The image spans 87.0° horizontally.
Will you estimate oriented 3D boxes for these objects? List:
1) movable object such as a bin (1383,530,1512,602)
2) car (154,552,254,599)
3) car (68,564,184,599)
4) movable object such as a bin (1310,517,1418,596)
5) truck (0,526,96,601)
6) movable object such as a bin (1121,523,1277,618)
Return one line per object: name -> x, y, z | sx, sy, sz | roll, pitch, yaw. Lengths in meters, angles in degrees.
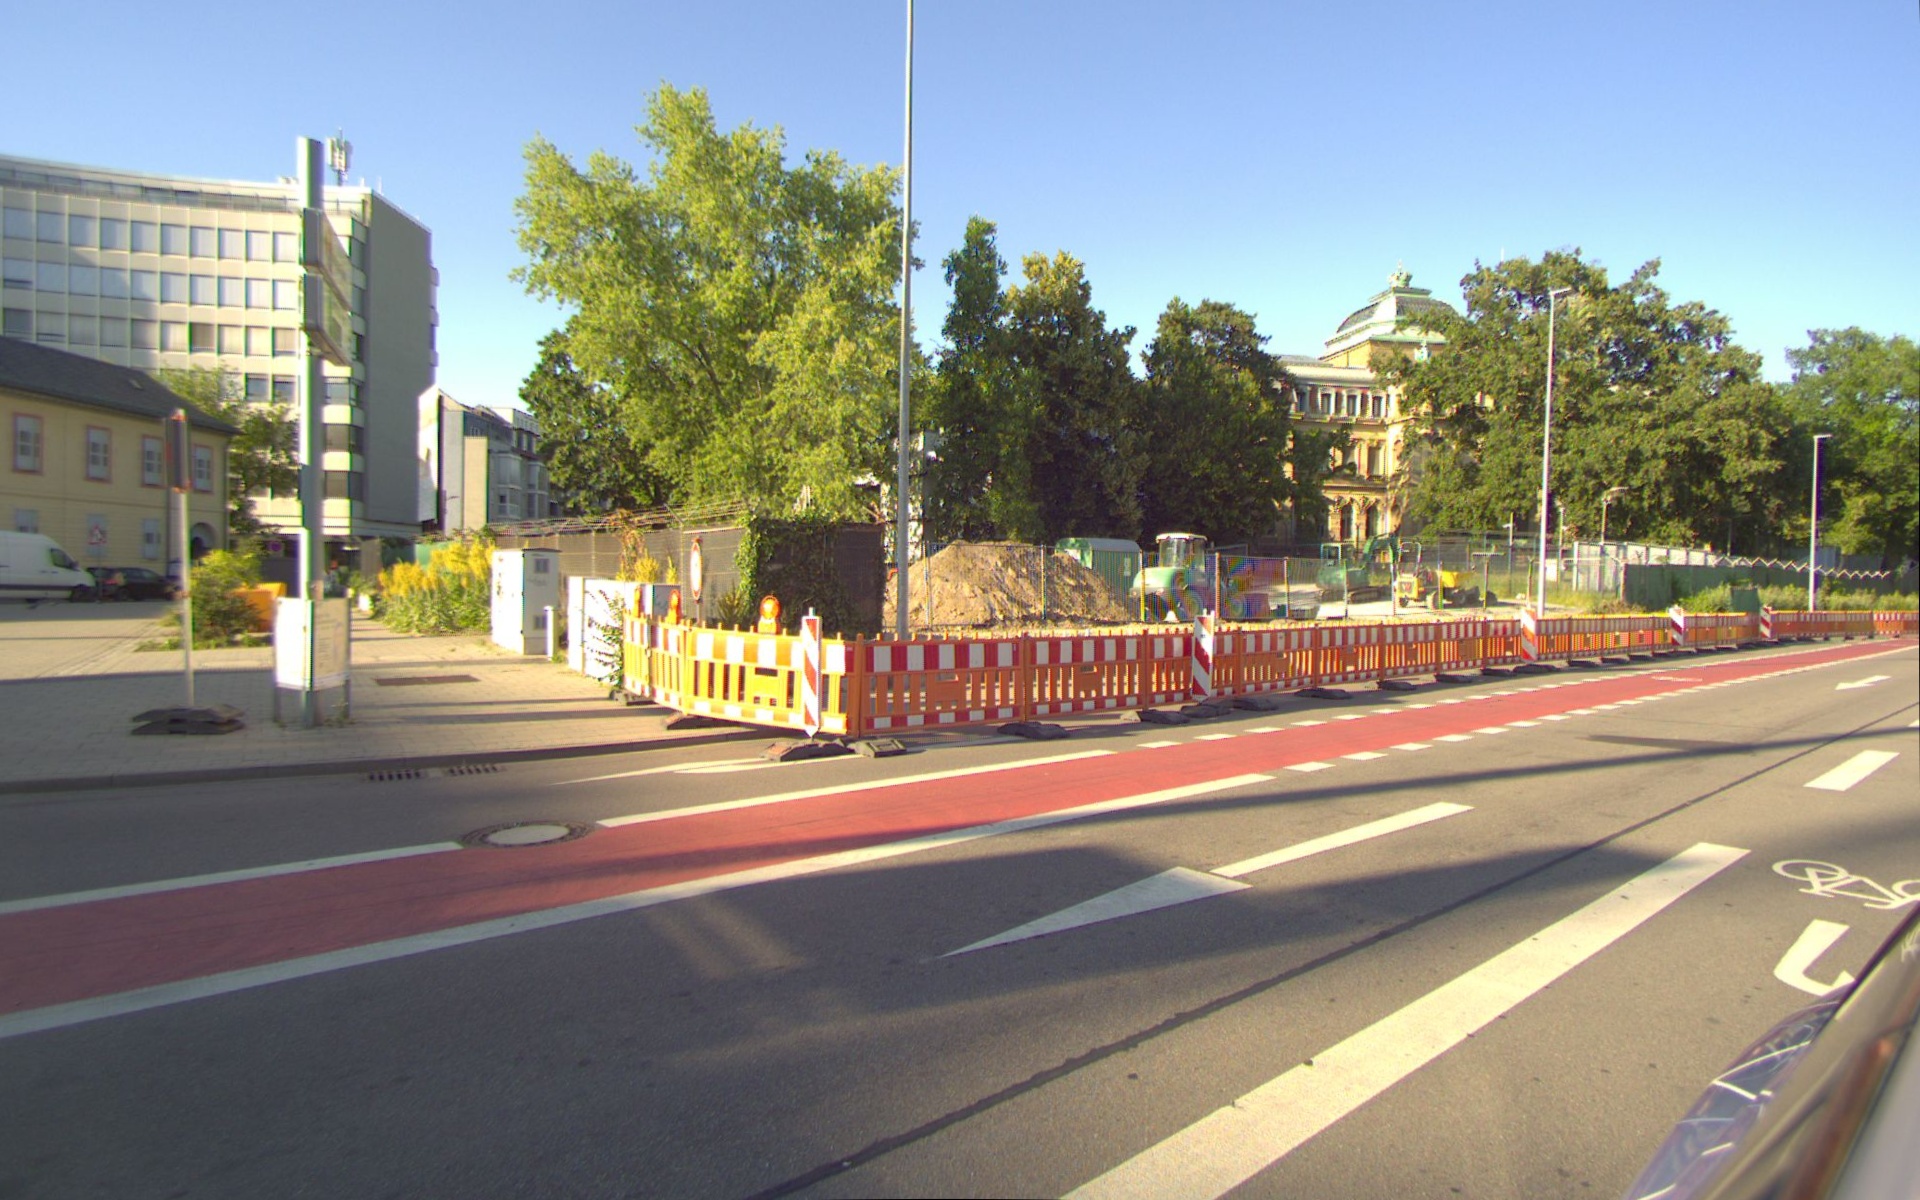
movable object such as a bin -> 20.425, -1.368, 42.352 | 5.750, 2.852, 2.002 | -1, 0, -30
car -> -34.397, -1.090, 46.168 | 1.682, 2.005, 3.761 | 0, 0, 1
car -> -34.342, -0.736, 41.813 | 1.682, 1.382, 3.761 | 0, 0, 1
movable object such as a bin -> 18.157, -1.873, 45.371 | 5.274, 3.371, 1.999 | -1, 0, -36
truck -> -34.316, -1.258, 36.054 | 2.258, 2.581, 5.638 | 0, 0, 1
movable object such as a bin -> 7.437, -0.876, 31.291 | 4.920, 2.717, 1.999 | -1, 0, -36
